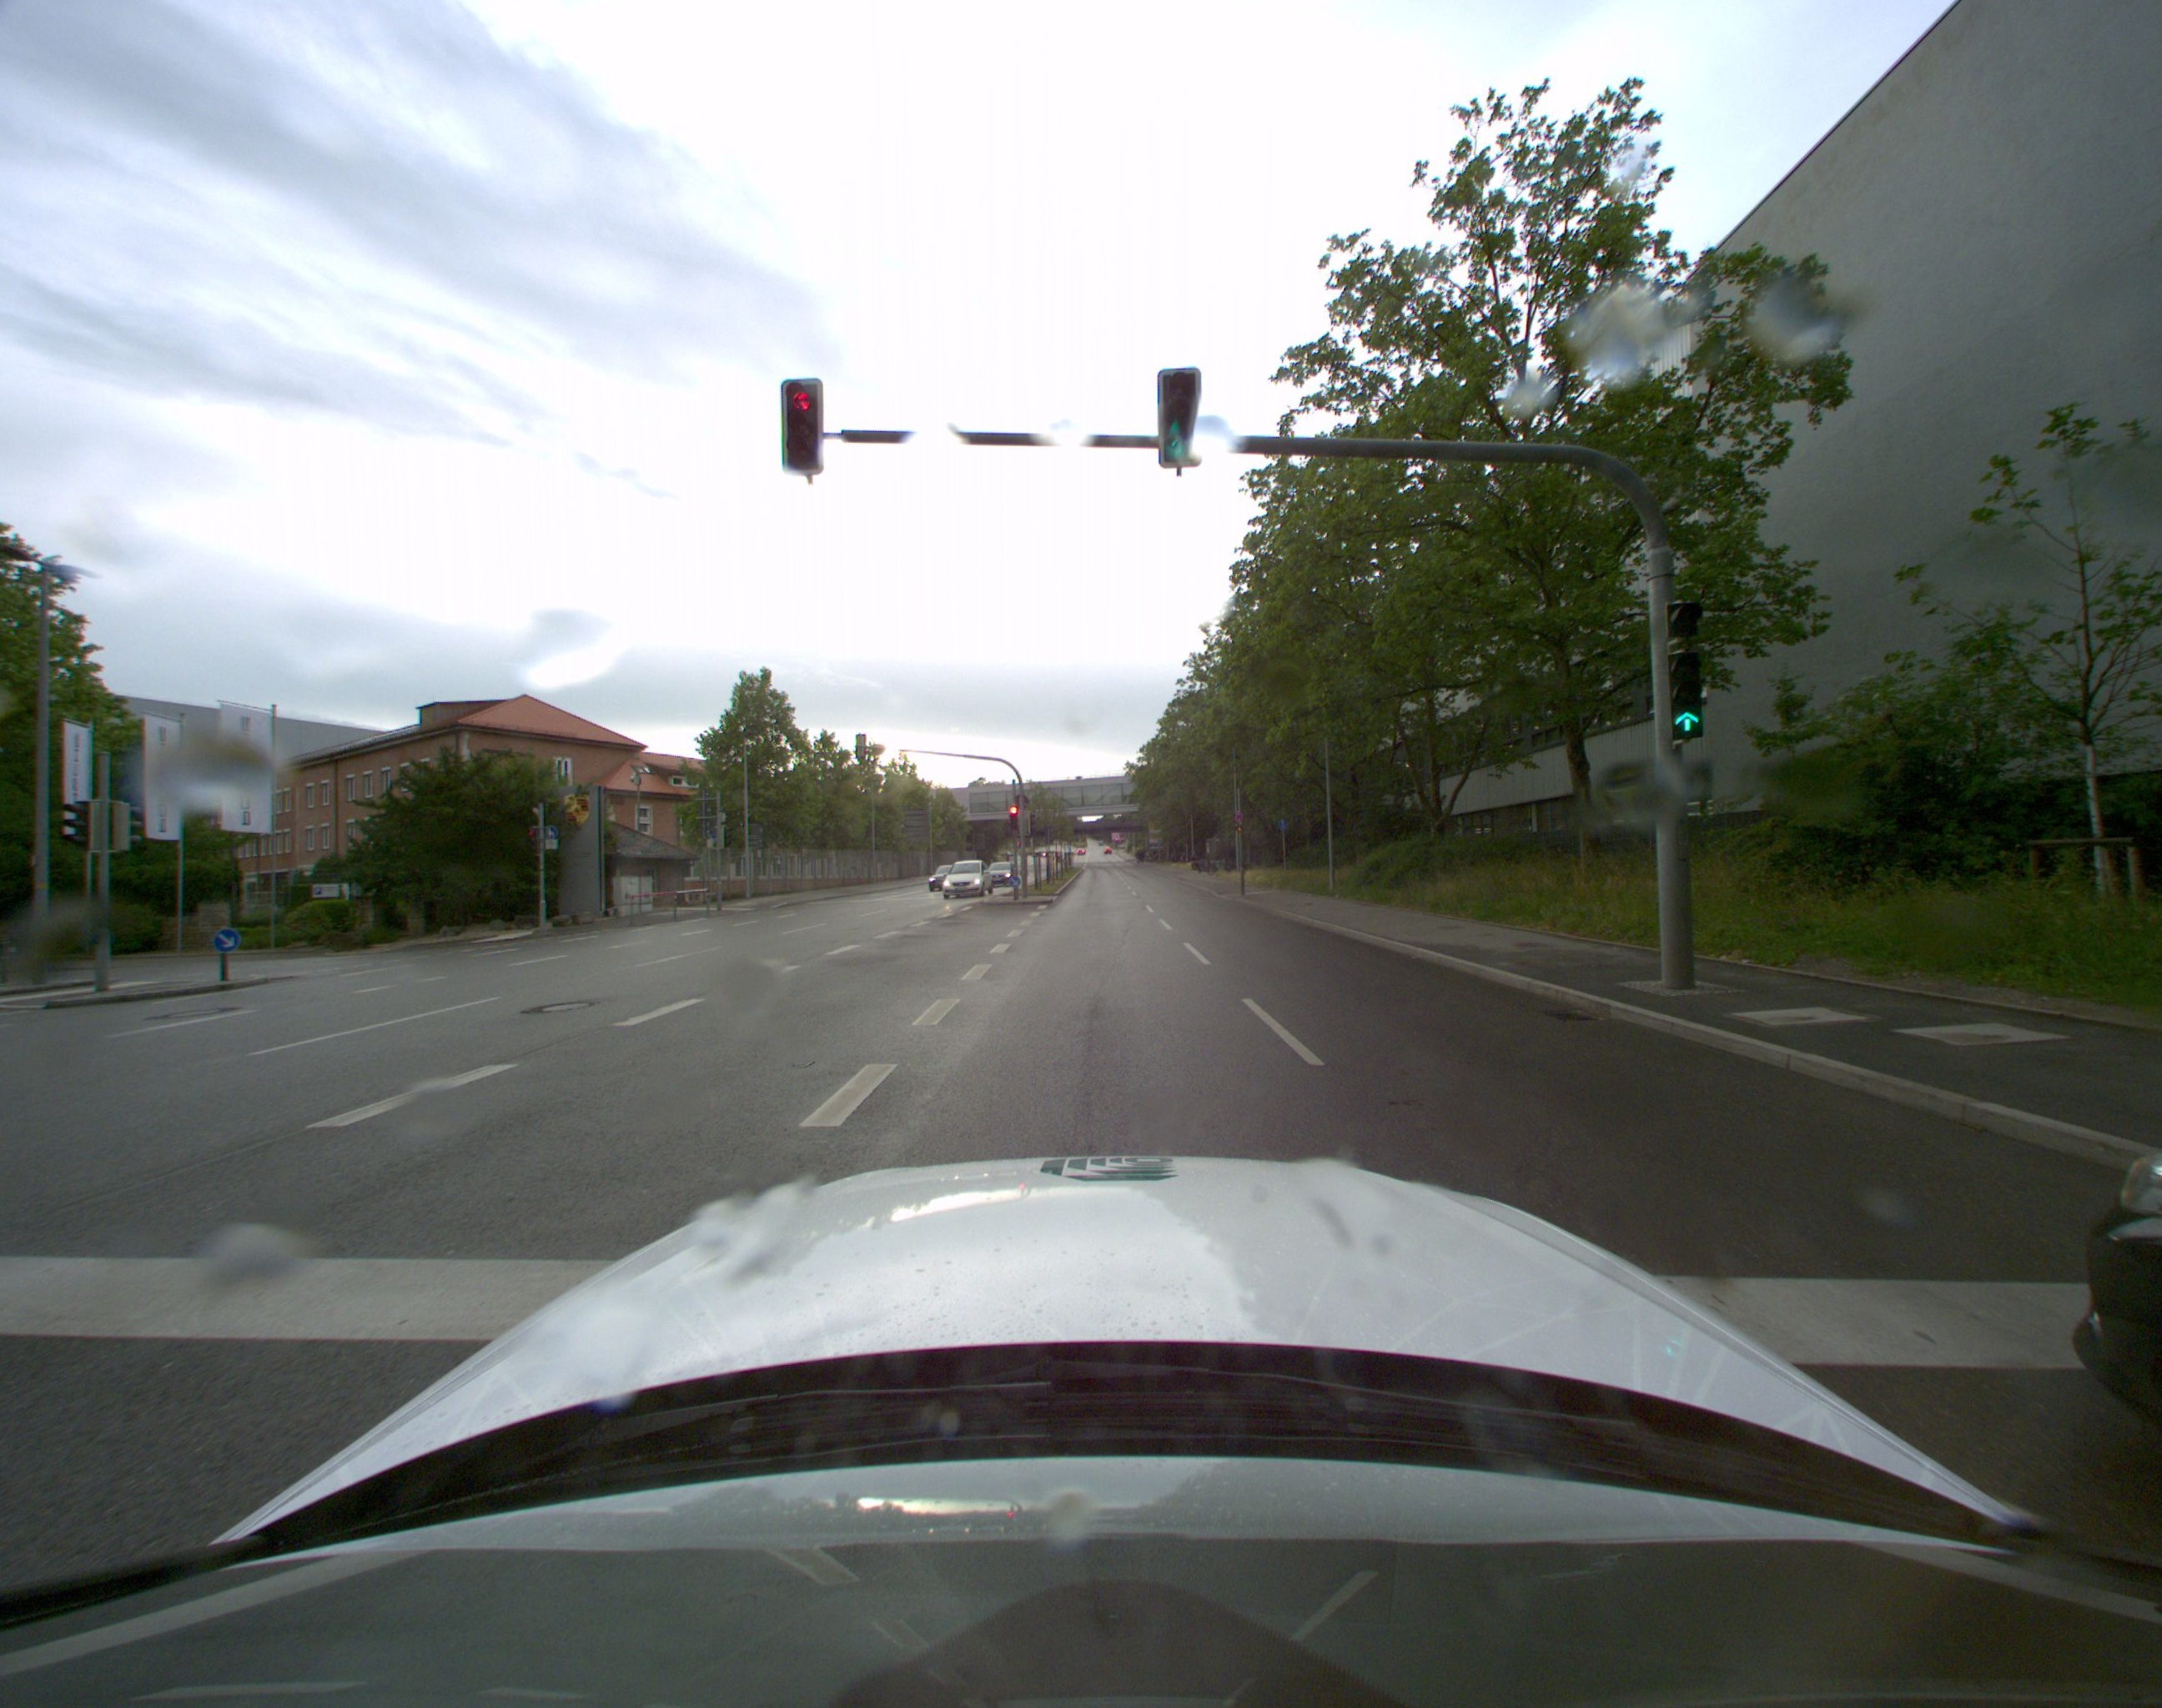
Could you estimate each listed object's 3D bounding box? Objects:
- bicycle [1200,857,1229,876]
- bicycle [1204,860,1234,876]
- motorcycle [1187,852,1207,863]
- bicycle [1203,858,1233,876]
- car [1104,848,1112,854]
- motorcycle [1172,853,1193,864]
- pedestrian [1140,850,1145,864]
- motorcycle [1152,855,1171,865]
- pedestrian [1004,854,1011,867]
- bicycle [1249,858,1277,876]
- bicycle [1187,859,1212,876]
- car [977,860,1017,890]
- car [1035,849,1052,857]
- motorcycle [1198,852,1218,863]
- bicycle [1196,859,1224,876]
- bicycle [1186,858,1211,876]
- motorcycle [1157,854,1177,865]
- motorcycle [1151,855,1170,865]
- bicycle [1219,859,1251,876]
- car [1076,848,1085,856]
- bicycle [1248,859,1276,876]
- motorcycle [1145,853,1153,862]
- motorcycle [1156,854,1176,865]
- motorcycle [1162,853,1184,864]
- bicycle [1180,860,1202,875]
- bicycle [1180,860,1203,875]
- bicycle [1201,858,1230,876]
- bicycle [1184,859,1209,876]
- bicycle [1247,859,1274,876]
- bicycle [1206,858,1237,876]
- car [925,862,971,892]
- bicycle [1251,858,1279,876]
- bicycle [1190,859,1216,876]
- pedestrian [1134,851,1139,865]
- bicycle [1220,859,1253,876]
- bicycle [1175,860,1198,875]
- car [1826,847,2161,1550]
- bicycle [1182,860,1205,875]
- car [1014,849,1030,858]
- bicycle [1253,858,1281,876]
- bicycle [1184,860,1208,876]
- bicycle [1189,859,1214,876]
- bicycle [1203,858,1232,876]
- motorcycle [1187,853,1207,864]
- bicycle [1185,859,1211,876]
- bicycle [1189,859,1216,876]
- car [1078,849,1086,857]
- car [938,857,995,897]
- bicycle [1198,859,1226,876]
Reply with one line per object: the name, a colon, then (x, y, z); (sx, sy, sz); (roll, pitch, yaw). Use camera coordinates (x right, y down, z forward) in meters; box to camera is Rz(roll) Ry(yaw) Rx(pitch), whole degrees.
bicycle: (9.647, 0.883, 58.915); (1.982, 1.340, 0.541); (0, -2, 2)
bicycle: (9.529, 0.951, 56.255); (1.982, 1.095, 0.541); (0, -2, 2)
motorcycle: (14.289, 0.416, 100.101); (2.355, 1.202, 0.724); (-3, -1, 9)
bicycle: (9.554, 0.904, 56.859); (1.982, 1.233, 0.541); (0, -2, 2)
car: (6.615, -0.719, 200.991); (1.868, 1.497, 4.069); (0, -1, 2)
motorcycle: (11.935, 0.503, 95.548); (2.355, 1.202, 0.724); (-3, -1, 9)
pedestrian: (8.597, 0.449, 114.264); (0.619, 2.014, 0.606); (-3, -1, 2)
motorcycle: (10.356, 0.770, 104.708); (2.355, 1.202, 0.724); (-3, -1, 9)
pedestrian: (-12.528, 1.096, 138.516); (0.876, 2.005, 0.847); (4, -4, -27)
bicycle: (13.703, 1.009, 61.272); (1.982, 1.328, 0.576); (0, -2, 2)
bicycle: (9.543, 1.078, 65.592); (1.982, 1.328, 0.576); (0, -2, 2)
car: (-5.002, 1.228, 48.914); (1.870, 1.624, 3.780); (-2, 0, 2)
car: (-9.173, -0.206, 197.392); (2.011, 2.014, 3.952); (2, -2, -42)
motorcycle: (15.192, 0.419, 97.607); (2.355, 1.202, 0.724); (-3, -1, 9)
bicycle: (9.601, 0.989, 60.556); (1.982, 1.242, 0.541); (0, -2, 2)
bicycle: (9.578, 1.033, 66.326); (1.982, 1.430, 0.723); (0, -2, 2)
motorcycle: (10.565, 0.713, 100.320); (2.355, 1.202, 0.724); (-3, -1, 9)
motorcycle: (10.414, 0.792, 106.889); (2.355, 1.202, 0.795); (-3, -1, 9)
bicycle: (10.061, 0.888, 53.174); (1.982, 1.095, 0.541); (0, -2, 2)
car: (-0.056, -0.492, 205.794); (1.986, 1.762, 4.001); (0, -1, 2)
bicycle: (13.738, 1.025, 61.919); (1.982, 1.328, 0.576); (0, -2, 2)
motorcycle: (10.085, 0.550, 121.050); (0.789, 1.311, 2.371); (-3, -1, -7)
motorcycle: (10.413, 0.703, 99.409); (2.355, 1.202, 0.724); (-3, -1, 9)
motorcycle: (10.560, 0.495, 93.382); (2.355, 1.202, 0.724); (-3, -1, 9)
bicycle: (9.883, 1.251, 73.132); (1.955, 1.328, 0.654); (0, -2, 2)
bicycle: (9.653, 1.208, 71.419); (1.955, 1.328, 0.654); (0, -2, 2)
bicycle: (9.634, 0.932, 58.202); (1.982, 1.242, 0.541); (0, -2, 2)
bicycle: (9.603, 1.134, 67.890); (1.982, 1.328, 0.576); (0, -2, 2)
bicycle: (13.771, 1.041, 62.587); (1.982, 1.328, 0.576); (0, -2, 2)
bicycle: (9.428, 0.858, 54.650); (1.982, 1.216, 0.541); (0, -2, 2)
car: (-7.748, 1.310, 47.675); (1.870, 1.624, 3.780); (-2, 0, 2)
bicycle: (13.681, 0.993, 60.607); (1.982, 1.328, 0.576); (0, -2, 2)
bicycle: (9.550, 1.036, 63.839); (1.982, 1.328, 0.576); (0, -2, 2)
pedestrian: (7.836, 0.555, 114.371); (0.619, 2.014, 0.606); (-3, -1, 2)
bicycle: (10.042, 0.874, 52.606); (1.982, 1.095, 0.541); (0, -2, 2)
bicycle: (9.353, 1.227, 72.341); (1.955, 1.328, 0.654); (0, -2, 2)
car: (3.303, 0.710, 0.476); (1.871, 1.494, 4.072); (-3, -1, -2)
bicycle: (9.646, 1.169, 69.818); (1.955, 1.328, 0.654); (0, -2, 2)
car: (-14.748, -0.116, 203.061); (2.011, 2.014, 3.952); (2, -2, -42)
bicycle: (13.675, 0.974, 59.843); (1.982, 1.328, 0.576); (0, -2, 2)
bicycle: (9.783, 1.153, 69.124); (1.953, 1.328, 0.576); (0, -2, 2)
bicycle: (9.906, 1.107, 67.172); (1.982, 1.328, 0.576); (0, -2, 2)
bicycle: (9.600, 0.914, 57.460); (1.982, 1.242, 0.541); (0, -2, 2)
motorcycle: (14.133, 0.557, 99.185); (2.355, 1.202, 0.724); (-3, -1, 9)
bicycle: (9.254, 1.053, 64.655); (1.982, 1.328, 0.576); (0, -2, 2)
bicycle: (9.248, 1.019, 61.939); (1.982, 1.242, 0.541); (0, -2, 2)
car: (0.204, -0.246, 210.317); (1.877, 1.762, 3.970); (0, -1, 2)
car: (-5.073, 0.989, 36.608); (1.870, 1.624, 3.780); (-2, 0, 2)
bicycle: (9.574, 0.966, 59.607); (1.982, 1.242, 0.541); (0, -2, 2)
